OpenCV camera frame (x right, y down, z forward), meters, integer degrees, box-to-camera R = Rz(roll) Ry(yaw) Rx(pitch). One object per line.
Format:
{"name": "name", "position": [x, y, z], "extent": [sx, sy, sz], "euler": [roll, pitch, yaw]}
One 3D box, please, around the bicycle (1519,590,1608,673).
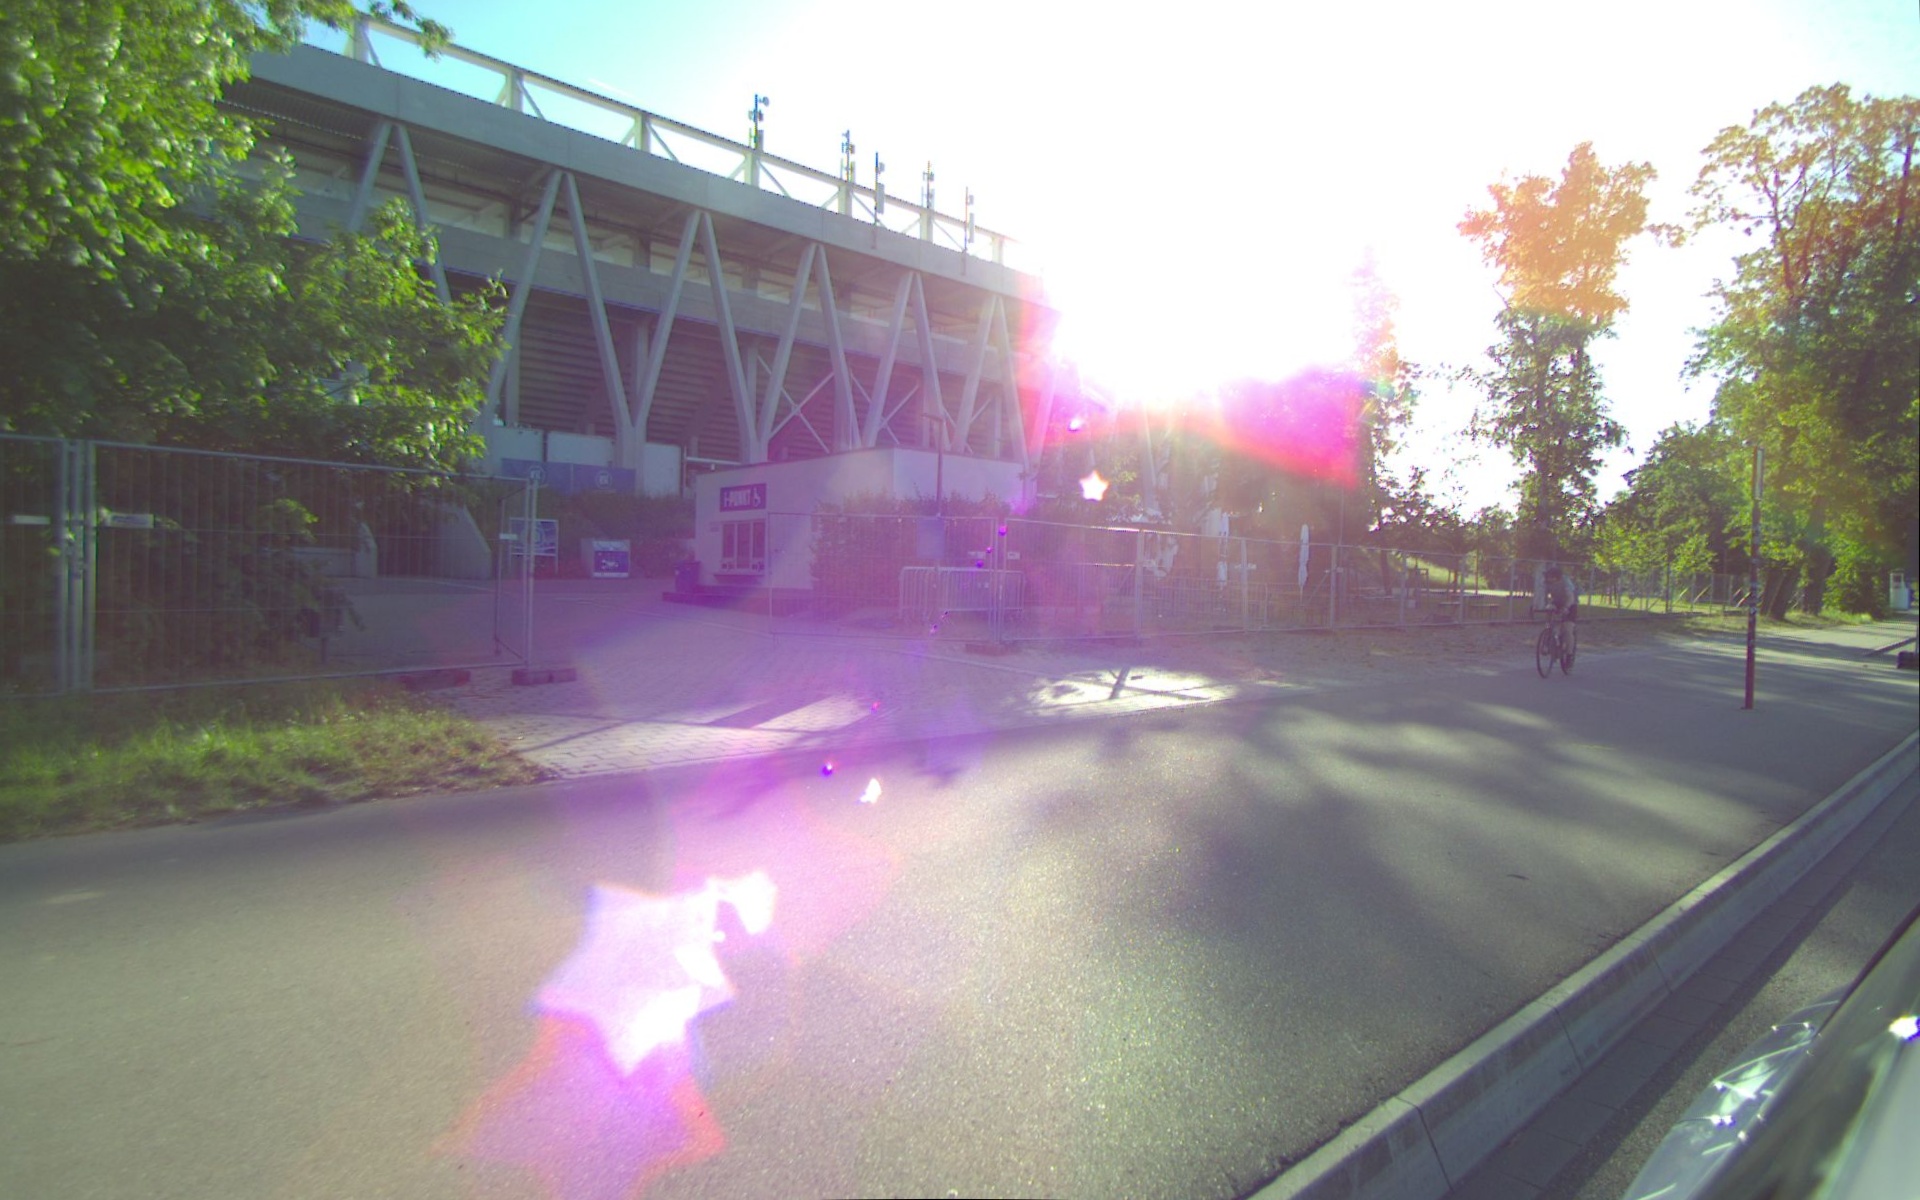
{"name": "bicycle", "position": [9.119, 0.445, 15.261], "extent": [1.831, 1.151, 0.555], "euler": [-1, 3, -41]}

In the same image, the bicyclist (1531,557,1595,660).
{"name": "bicyclist", "position": [9.061, 0.119, 15.194], "extent": [0.846, 1.487, 0.521], "euler": [0, 3, -41]}
